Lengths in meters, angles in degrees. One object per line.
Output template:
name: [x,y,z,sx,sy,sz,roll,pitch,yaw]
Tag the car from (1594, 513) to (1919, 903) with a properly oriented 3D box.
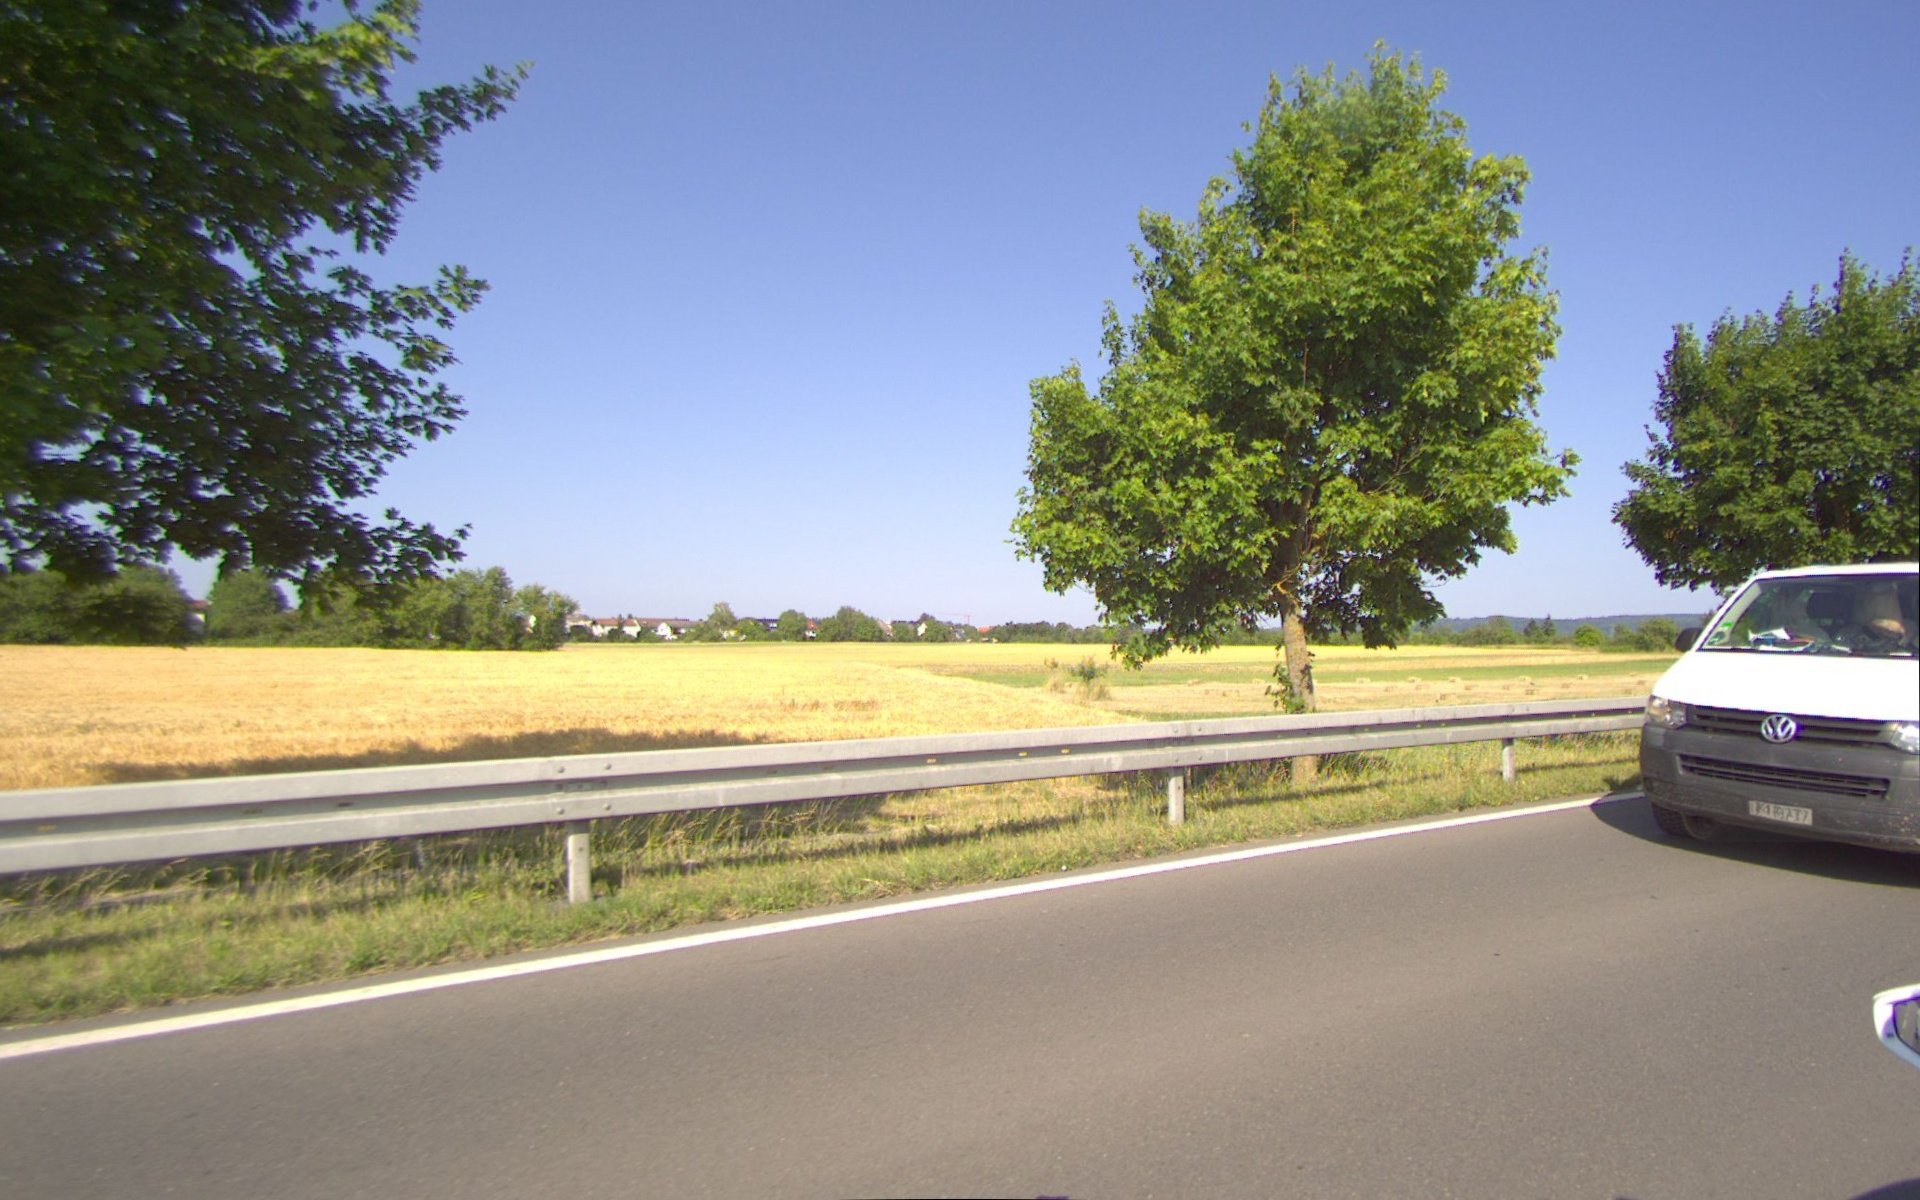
car: [6.734,0.660,7.049,4.728,2.040,1.903,3,-1,-31]
